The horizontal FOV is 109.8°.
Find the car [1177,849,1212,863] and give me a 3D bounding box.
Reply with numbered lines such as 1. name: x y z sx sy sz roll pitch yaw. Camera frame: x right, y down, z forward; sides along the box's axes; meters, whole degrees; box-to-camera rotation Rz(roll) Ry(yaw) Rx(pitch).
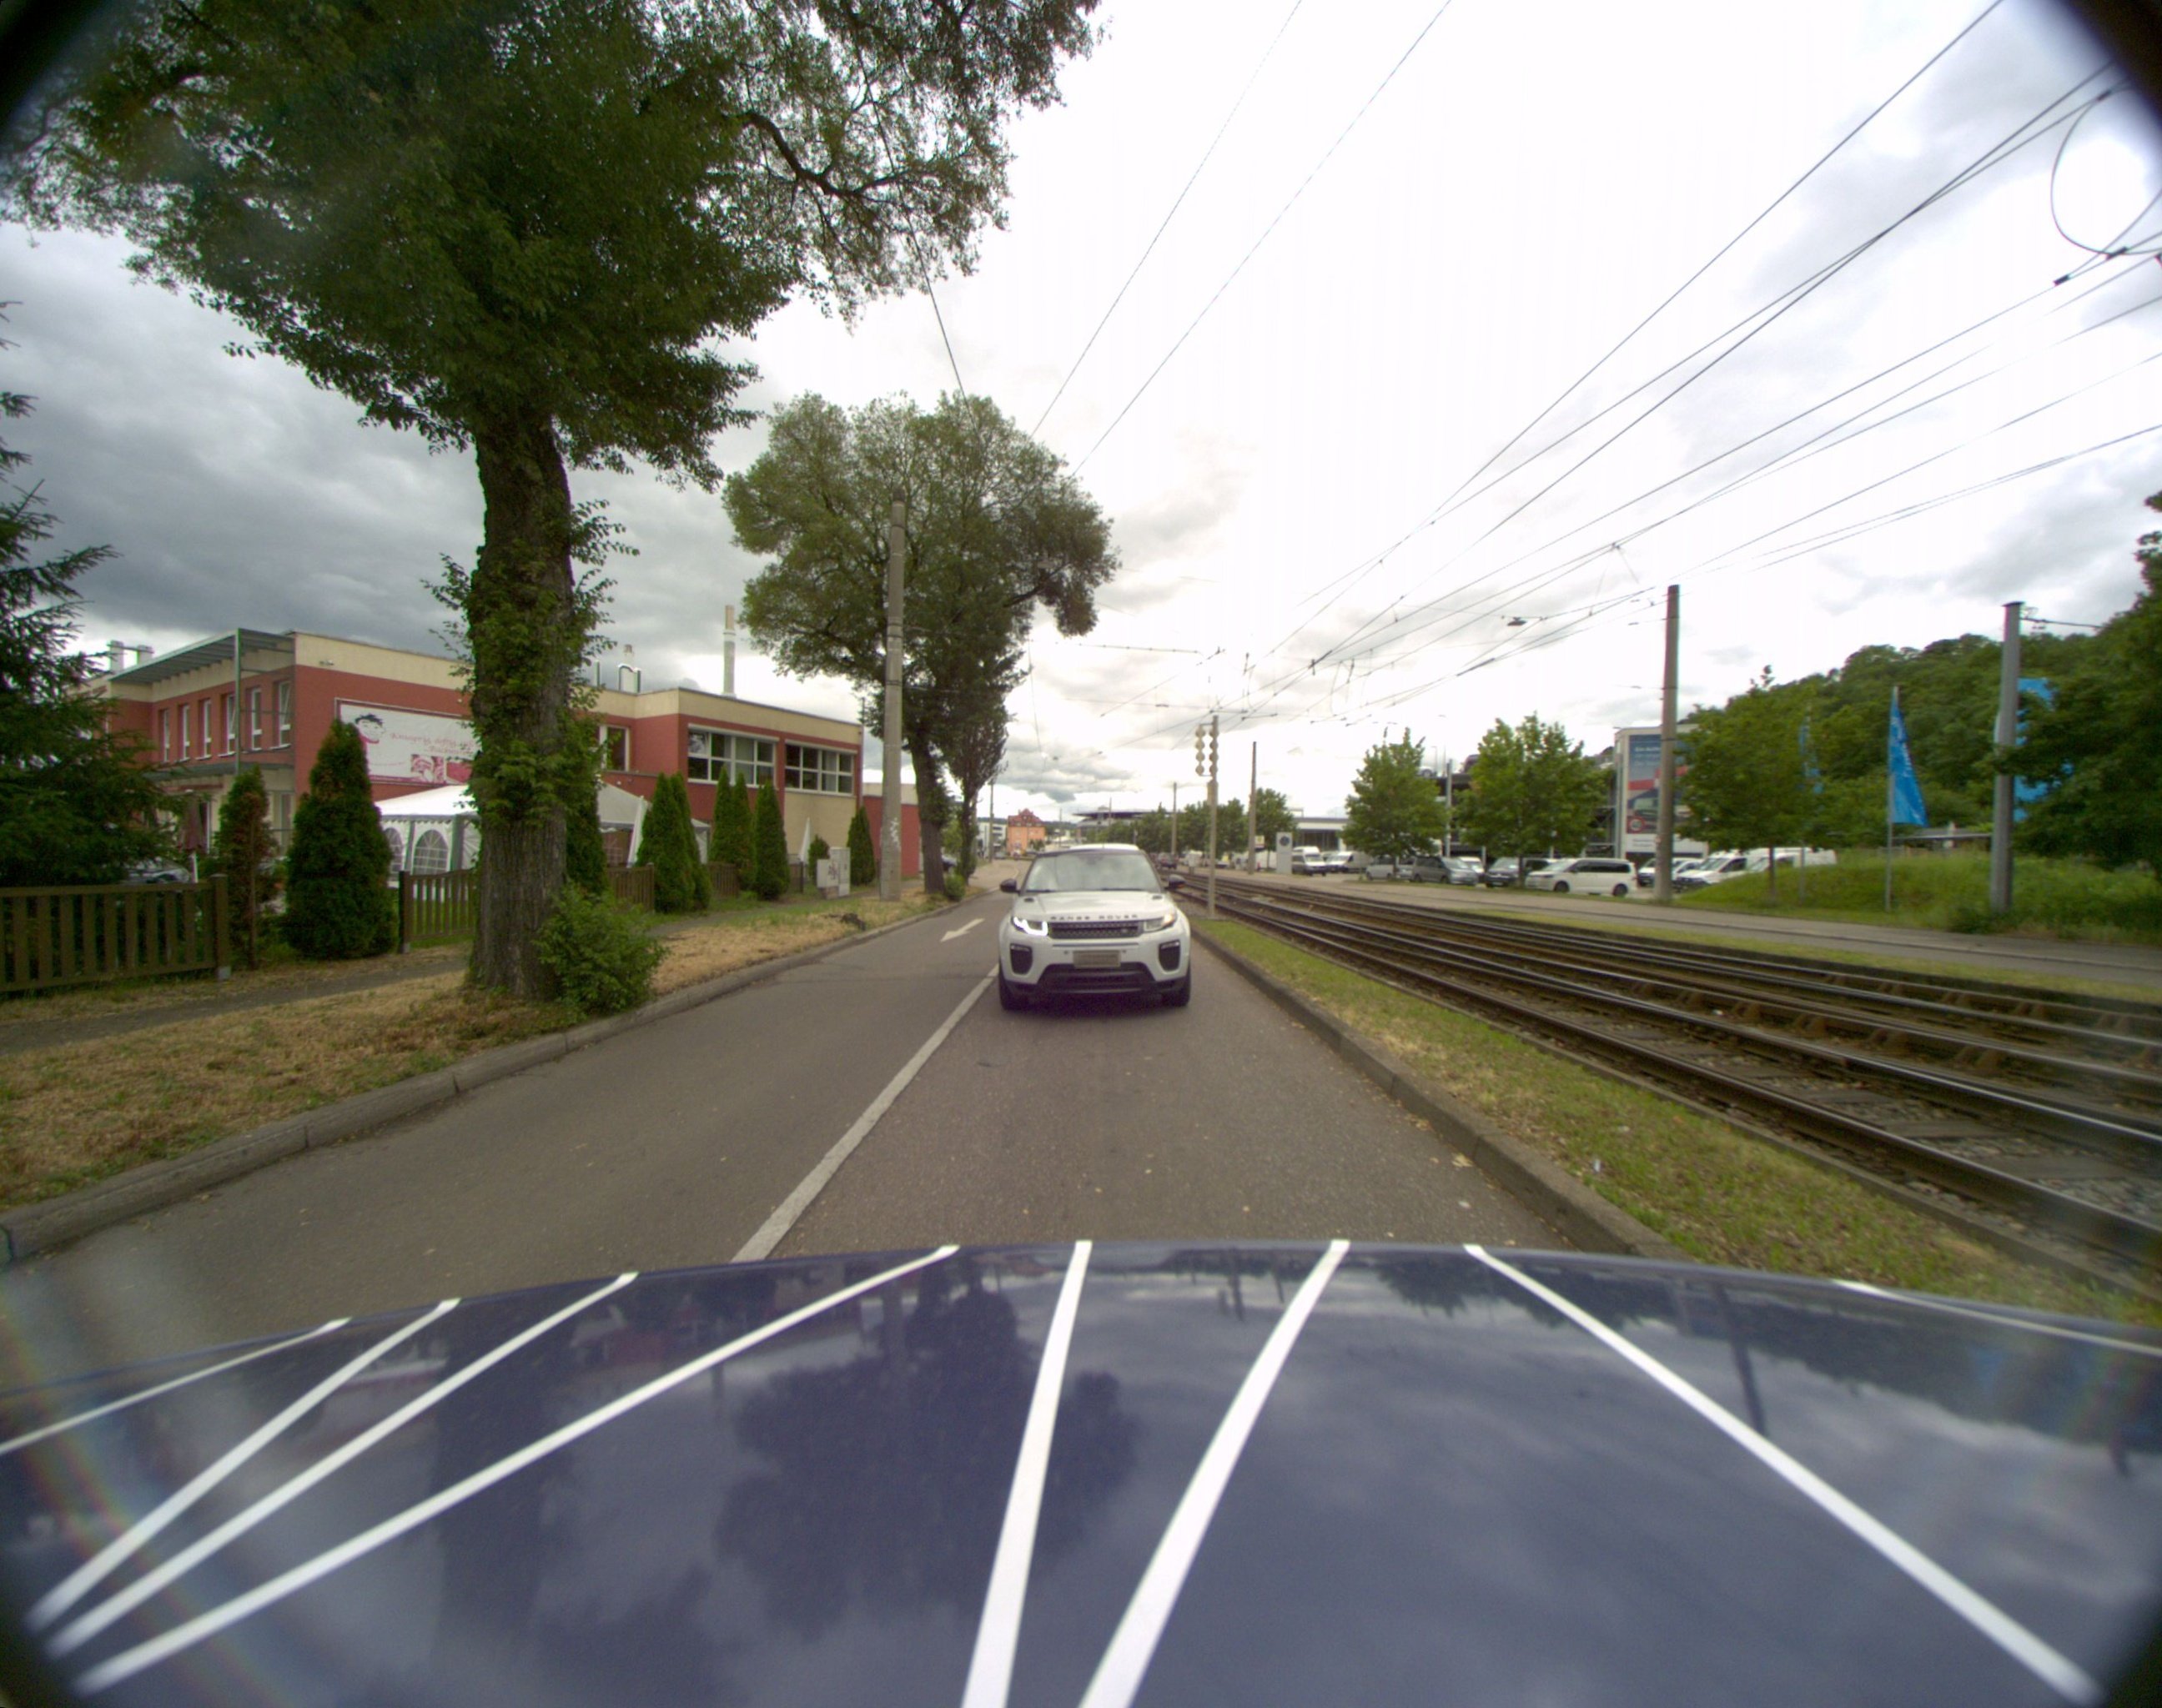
1. car: 16.542 0.231 110.869 4.639 1.830 2.107 -2 1 -7

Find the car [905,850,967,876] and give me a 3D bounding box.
1. car: -10.013 0.622 52.586 3.999 1.636 1.895 -2 1 -6

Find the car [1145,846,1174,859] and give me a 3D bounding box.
1. car: 13.972 -0.224 135.628 4.639 2.196 2.107 -2 1 -7

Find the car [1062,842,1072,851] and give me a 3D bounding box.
1. car: -3.362 -1.732 181.417 2.000 2.002 3.997 -2 1 -6

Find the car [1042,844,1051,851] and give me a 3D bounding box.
1. car: -9.506 -1.748 207.884 2.000 2.002 3.997 -2 1 -6

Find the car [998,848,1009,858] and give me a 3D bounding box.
1. car: -14.678 -0.215 144.238 1.906 1.708 4.133 5 1 -4

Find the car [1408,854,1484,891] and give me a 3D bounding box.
1. car: 23.244 1.136 48.592 2.142 2.104 4.773 -2 1 -6

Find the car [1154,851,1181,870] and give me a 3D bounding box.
1. car: 9.171 0.678 80.615 1.906 1.708 4.133 5 1 -5

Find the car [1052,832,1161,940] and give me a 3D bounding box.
1. car: 0.545 0.572 16.586 1.998 1.990 5.034 0 1 2

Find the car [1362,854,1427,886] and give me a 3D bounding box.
1. car: 22.536 1.082 54.839 2.142 2.104 4.772 -2 1 -8

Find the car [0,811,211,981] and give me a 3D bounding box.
1. car: -14.366 0.529 10.382 3.991 2.002 2.003 -2 1 22

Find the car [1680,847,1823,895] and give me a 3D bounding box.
1. car: 37.318 0.946 42.481 5.652 2.446 1.983 -2 1 19

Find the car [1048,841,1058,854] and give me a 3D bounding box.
1. car: -6.697 -1.575 181.830 2.410 2.931 4.747 -2 1 -2

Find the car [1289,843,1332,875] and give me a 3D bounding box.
1. car: 22.959 0.459 76.325 2.320 2.994 6.157 -2 1 0

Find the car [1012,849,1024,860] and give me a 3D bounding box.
1. car: -10.585 0.110 127.702 1.869 1.740 3.998 -2 1 -4

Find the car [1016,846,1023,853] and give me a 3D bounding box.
1. car: -18.581 -1.249 228.563 2.000 2.002 3.997 -2 1 -6

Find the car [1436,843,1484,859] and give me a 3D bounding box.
1. car: 47.018 -0.331 94.364 5.216 1.826 1.983 -2 1 21

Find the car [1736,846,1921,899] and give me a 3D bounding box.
1. car: 34.954 0.879 35.778 5.850 2.254 2.056 -2 1 22

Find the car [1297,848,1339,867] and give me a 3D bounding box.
1. car: 29.806 0.448 95.712 4.636 2.196 2.108 -2 1 0

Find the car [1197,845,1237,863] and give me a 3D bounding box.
1. car: 17.782 0.004 99.161 4.639 2.196 2.107 -2 1 -7

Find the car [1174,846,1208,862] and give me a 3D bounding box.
1. car: 16.354 0.019 113.267 4.639 2.196 2.107 -2 1 -7

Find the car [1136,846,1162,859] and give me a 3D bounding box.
1. car: 12.864 -0.309 144.118 4.639 2.196 2.107 -2 1 -7

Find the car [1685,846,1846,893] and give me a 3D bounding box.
1. car: 35.414 0.807 39.540 5.839 2.254 2.056 -2 1 22

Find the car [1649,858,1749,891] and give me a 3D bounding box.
1. car: 37.002 1.222 45.623 4.228 1.826 1.983 -2 1 19

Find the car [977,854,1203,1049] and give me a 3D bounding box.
1. car: 0.094 0.876 8.906 1.998 1.680 4.268 0 1 0

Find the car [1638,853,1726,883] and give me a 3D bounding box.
1. car: 40.255 0.917 51.009 4.228 1.826 1.983 -2 1 19

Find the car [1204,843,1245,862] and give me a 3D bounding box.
1. car: 18.184 -0.165 96.373 4.639 2.196 2.107 -2 1 -7

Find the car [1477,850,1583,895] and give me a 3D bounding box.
1. car: 25.001 1.001 42.394 4.774 2.254 1.979 -2 1 -3

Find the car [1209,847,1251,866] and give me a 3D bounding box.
1. car: 18.374 0.310 93.938 4.639 2.196 2.107 -2 1 -7

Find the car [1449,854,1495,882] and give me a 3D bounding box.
1. car: 29.305 1.021 57.098 1.900 1.882 4.600 -2 1 12

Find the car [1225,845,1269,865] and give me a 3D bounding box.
1. car: 19.387 0.103 88.840 4.639 2.196 2.107 -2 1 -7

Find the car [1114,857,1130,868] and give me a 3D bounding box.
1. car: 5.890 1.193 109.626 1.999 1.569 4.176 1 0 -3

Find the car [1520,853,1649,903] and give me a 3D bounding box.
1. car: 25.584 1.172 38.715 5.269 2.254 1.999 -2 1 -3

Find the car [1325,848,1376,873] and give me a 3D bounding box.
1. car: 30.954 0.737 87.243 6.057 2.608 2.316 -3 1 -33

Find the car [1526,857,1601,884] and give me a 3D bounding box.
1. car: 34.809 1.197 54.969 4.228 1.826 1.983 -2 1 19
